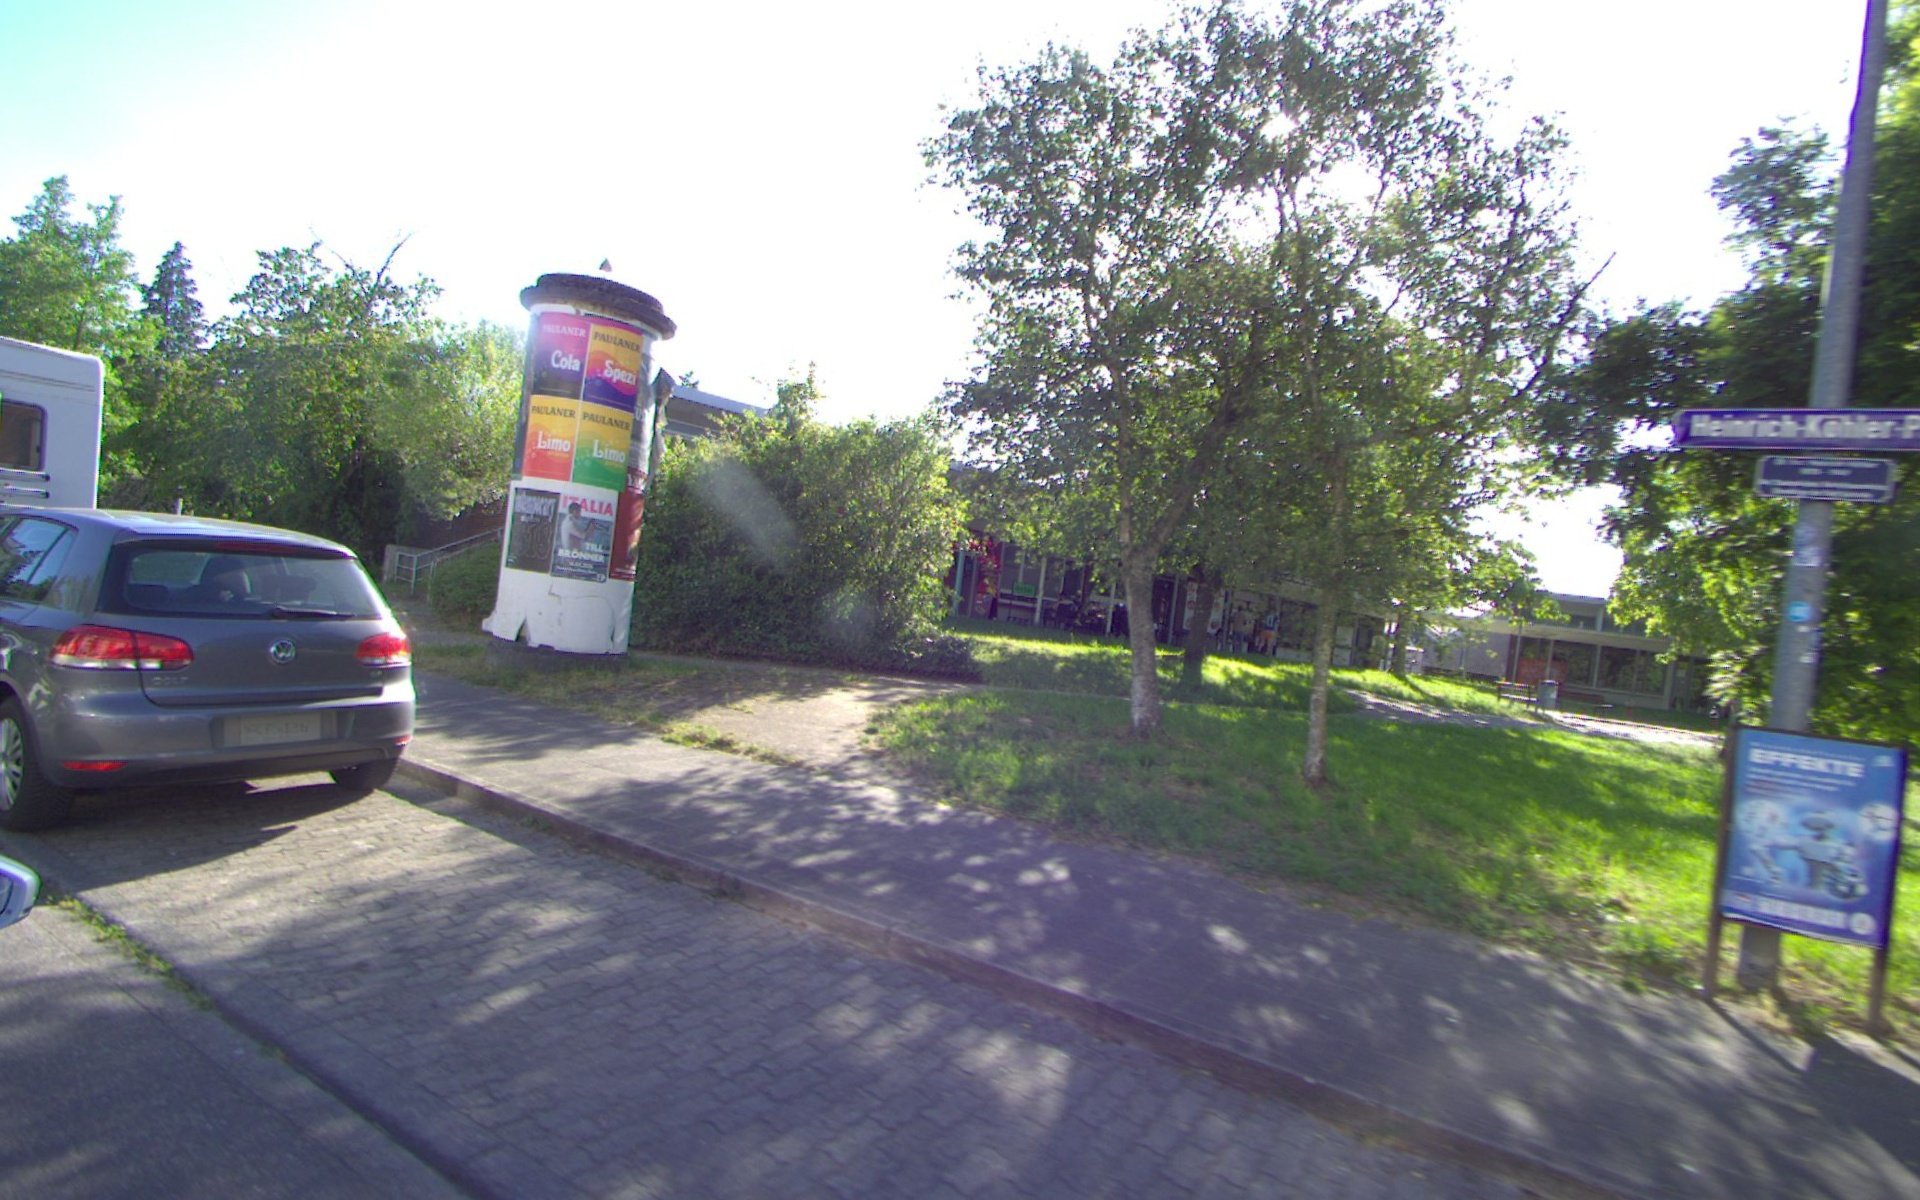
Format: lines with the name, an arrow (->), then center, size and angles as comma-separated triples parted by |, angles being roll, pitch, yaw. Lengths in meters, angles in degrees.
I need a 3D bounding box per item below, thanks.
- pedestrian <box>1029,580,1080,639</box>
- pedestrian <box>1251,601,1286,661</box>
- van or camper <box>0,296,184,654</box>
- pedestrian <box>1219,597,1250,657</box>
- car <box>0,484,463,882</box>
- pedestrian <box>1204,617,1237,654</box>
pedestrian -> 2.820, 0.276, 30.137 | 0.850, 1.595, 1.078 | 6, 1, -37
pedestrian -> 10.994, 1.105, 35.860 | 0.825, 2.039, 0.636 | 7, 1, 5
van or camper -> -10.740, -1.392, 9.935 | 6.737, 2.881, 2.499 | 8, 1, 32
pedestrian -> 9.859, 0.963, 36.106 | 0.841, 2.039, 0.636 | 7, 1, 16
car -> -5.114, 0.180, 5.997 | 4.354, 1.545, 1.721 | 8, 3, 31
pedestrian -> 10.088, 1.381, 38.965 | 0.831, 1.288, 0.762 | 7, 1, -27
